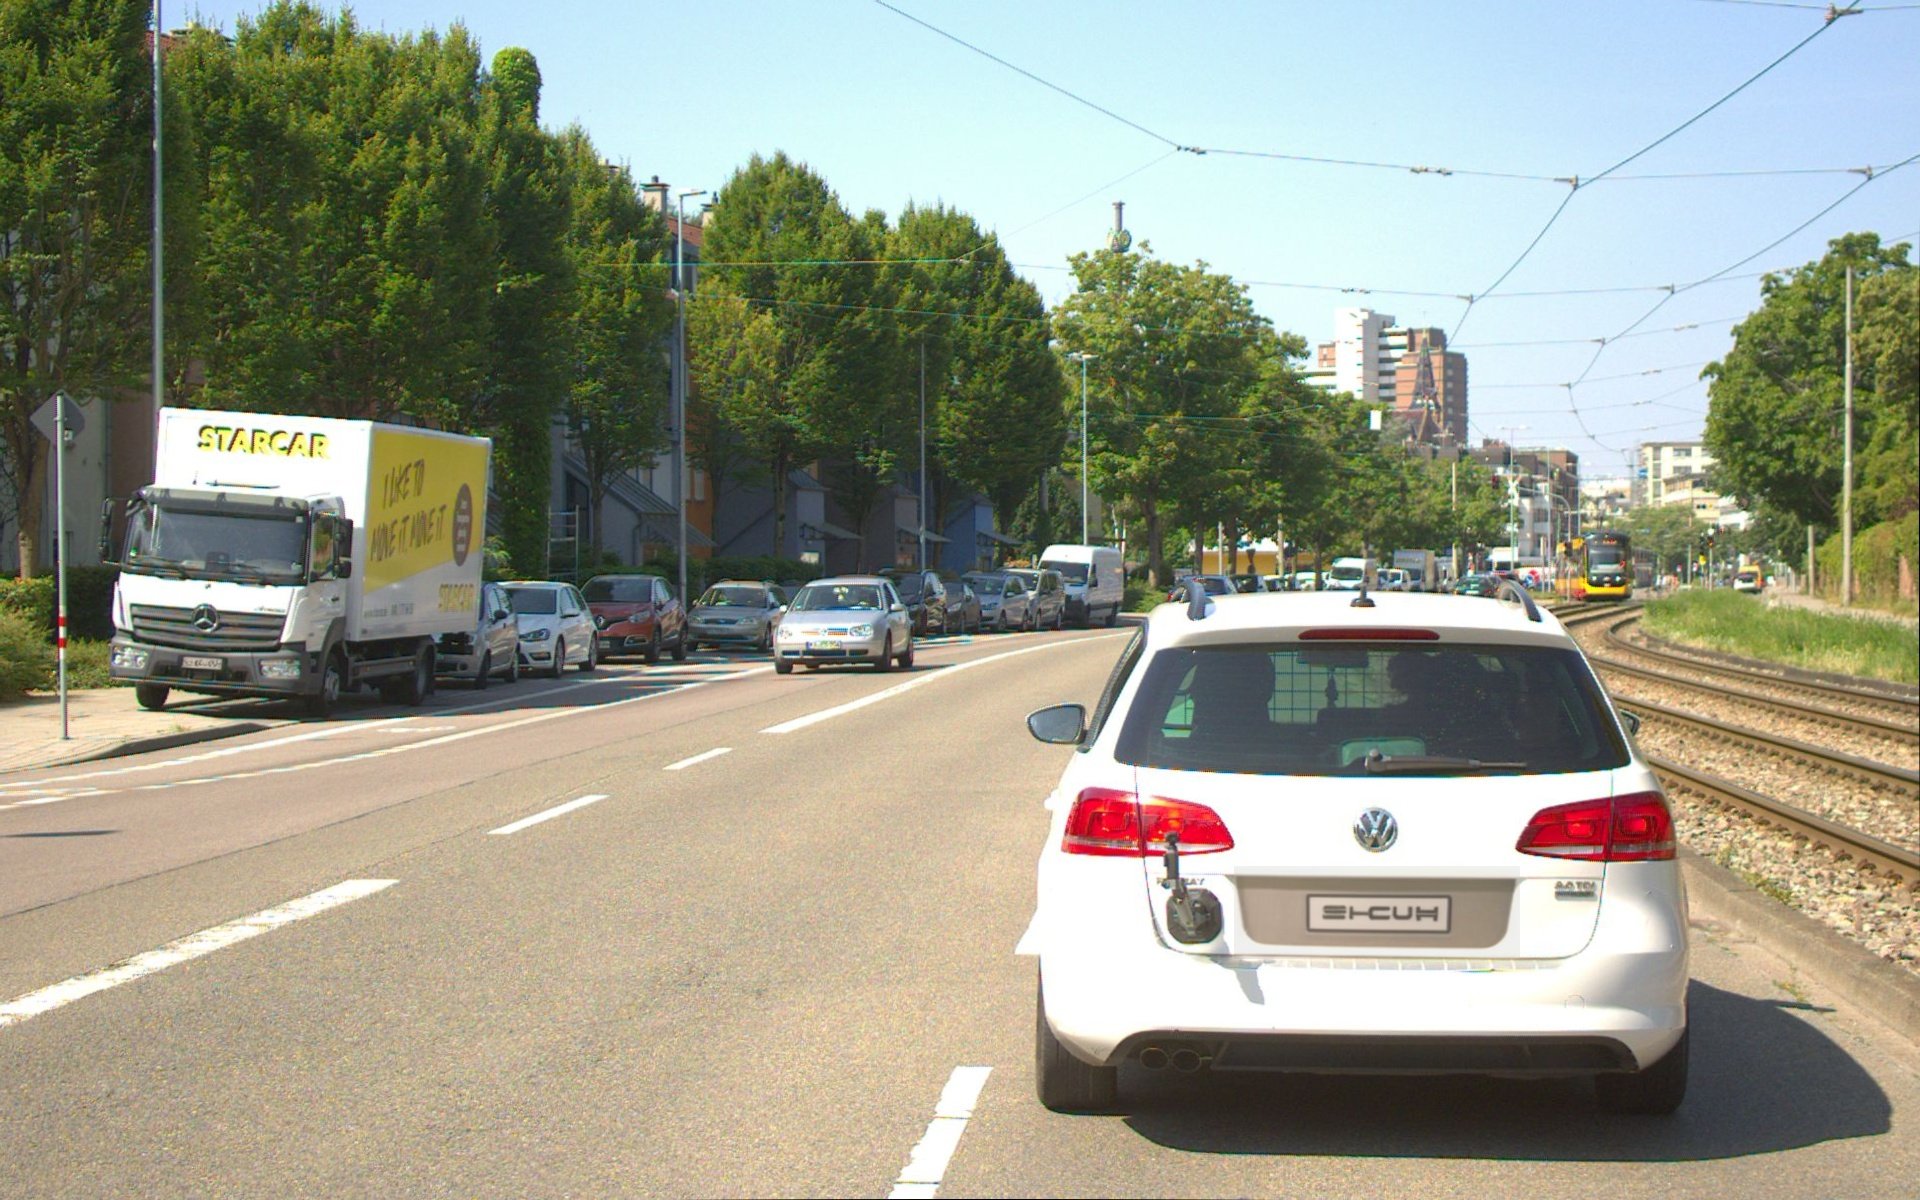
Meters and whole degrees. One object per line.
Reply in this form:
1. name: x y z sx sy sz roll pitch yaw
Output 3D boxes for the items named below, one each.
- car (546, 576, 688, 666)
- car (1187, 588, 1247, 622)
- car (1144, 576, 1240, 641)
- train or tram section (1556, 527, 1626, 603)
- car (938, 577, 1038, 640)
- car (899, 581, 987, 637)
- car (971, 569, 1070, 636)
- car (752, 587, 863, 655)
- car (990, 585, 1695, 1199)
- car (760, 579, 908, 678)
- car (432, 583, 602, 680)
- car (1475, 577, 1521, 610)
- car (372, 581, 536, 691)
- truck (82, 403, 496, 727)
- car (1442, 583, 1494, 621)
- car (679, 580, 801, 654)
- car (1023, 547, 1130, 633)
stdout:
1. car: -6.181 0.350 62.402 1.731 1.546 4.317 1 1 6
2. car: 10.827 0.196 144.593 1.701 1.412 3.997 0 0 16
3. car: 5.836 0.204 86.123 1.801 1.502 3.998 1 1 12
4. train or tram section: 32.398 -1.754 176.106 2.513 3.734 13.301 0 0 15
5. car: 0.850 0.229 101.386 1.802 1.719 4.906 3 1 14
6. car: -0.448 0.248 96.388 1.691 1.469 4.046 3 1 11
7. car: 1.918 0.082 106.937 1.921 1.941 5.351 3 1 13
8. car: -3.503 0.466 79.662 1.723 1.469 4.713 2 0 8
9. car: 1.029 0.721 10.630 1.691 1.446 4.458 1 1 3
10. car: -1.910 0.407 53.345 1.659 1.416 4.309 -2 0 6
11. car: -6.936 0.466 54.190 1.758 1.424 4.281 1 1 5
12. car: 24.048 -0.298 153.664 1.801 1.455 3.998 0 0 12
13. car: -7.266 0.489 49.631 1.609 1.479 3.635 2 0 3
14. truck: -8.019 -0.430 42.385 2.667 3.518 8.589 1 1 5
15. car: 20.718 0.074 140.223 1.801 1.502 3.998 1 1 12
16. car: -4.640 0.362 73.212 1.781 1.478 4.856 1 0 6
17. car: 3.947 -0.339 115.083 1.996 2.705 7.152 3 1 14
